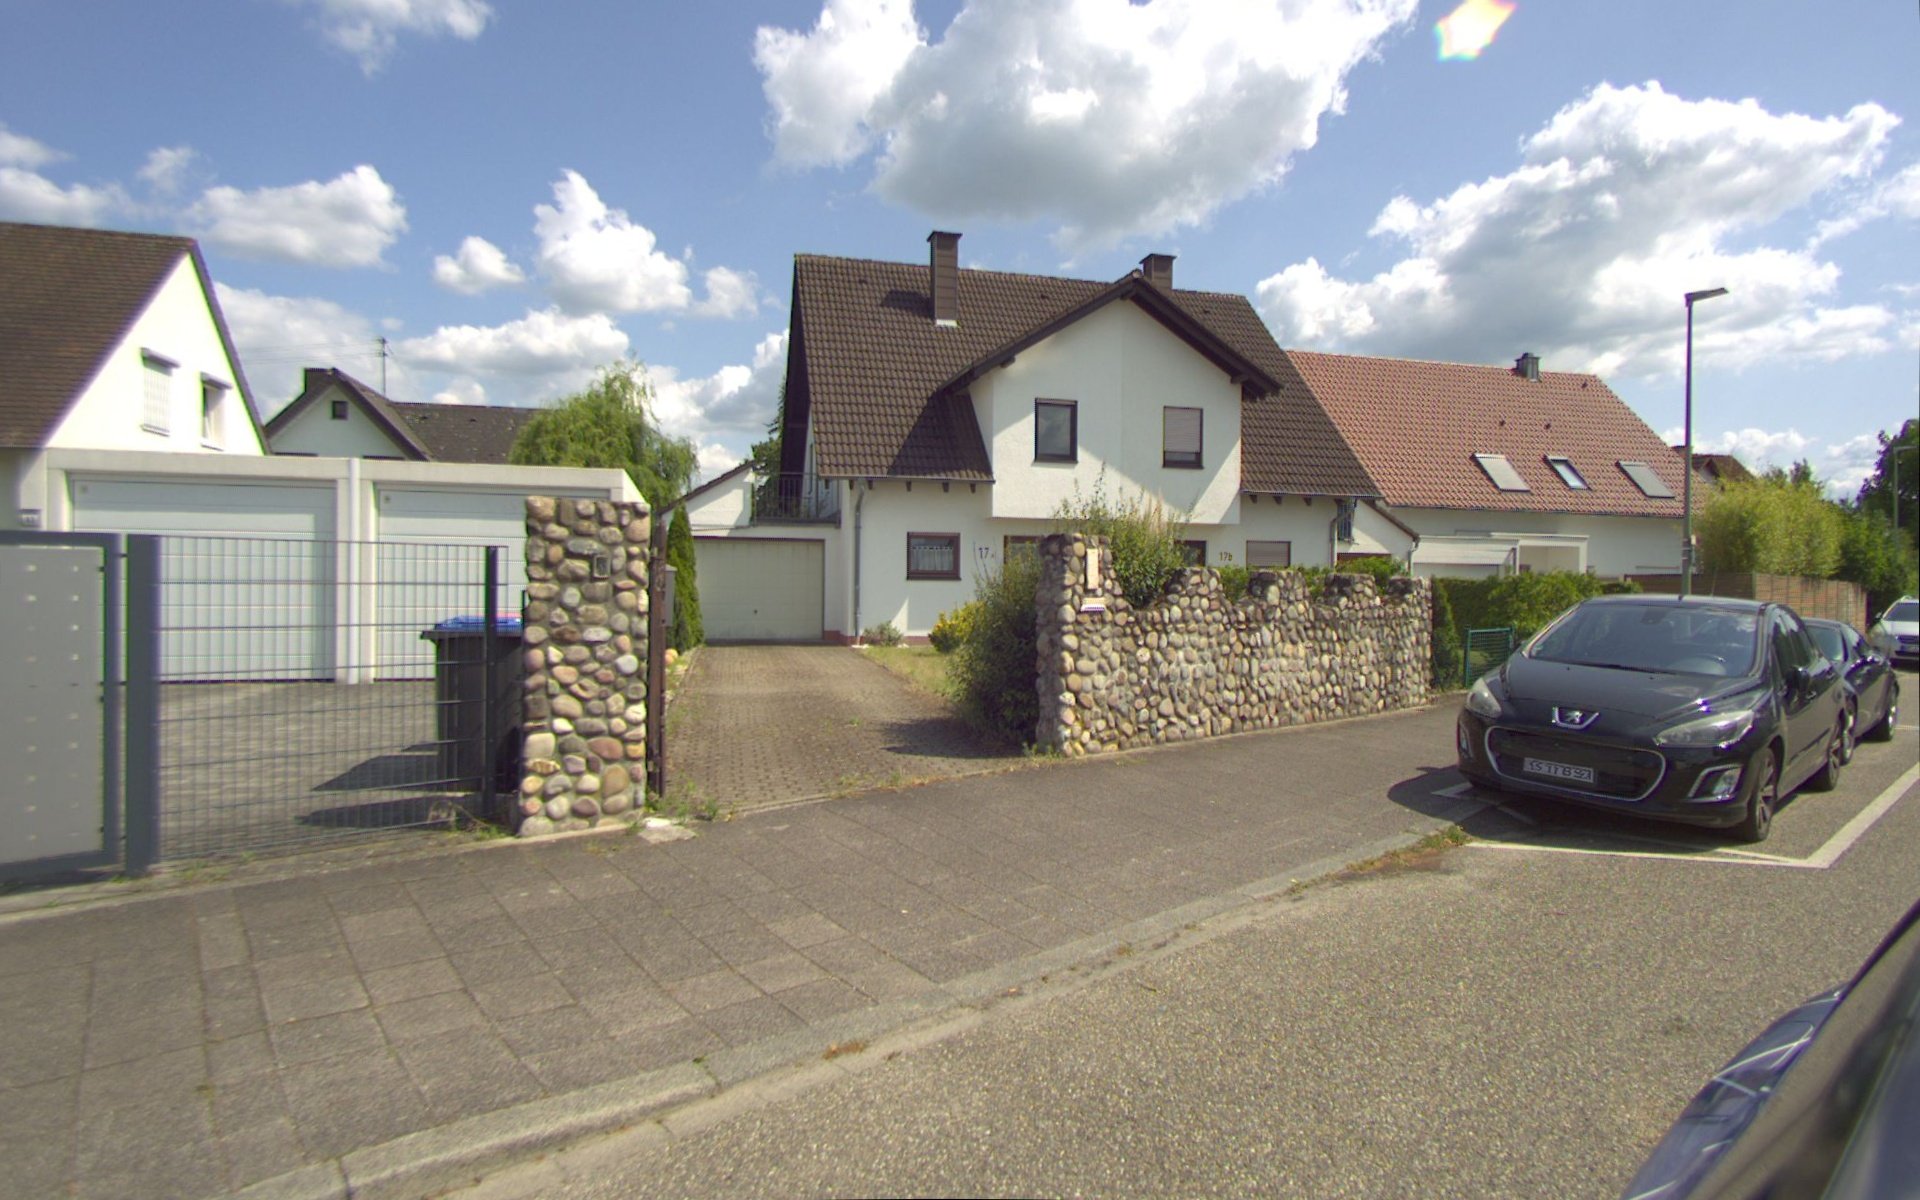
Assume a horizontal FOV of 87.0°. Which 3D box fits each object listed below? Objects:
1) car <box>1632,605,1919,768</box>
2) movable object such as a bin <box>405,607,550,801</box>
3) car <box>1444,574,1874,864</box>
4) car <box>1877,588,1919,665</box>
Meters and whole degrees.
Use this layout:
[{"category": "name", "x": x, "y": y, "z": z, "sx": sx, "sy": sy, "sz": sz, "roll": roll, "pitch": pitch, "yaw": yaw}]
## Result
[{"category": "car", "x": 8.647, "y": 0.748, "z": 10.555, "sx": 3.892, "sy": 1.334, "sz": 1.714, "roll": 0, "pitch": 1, "yaw": -40}, {"category": "movable object such as a bin", "x": -2.913, "y": 0.585, "z": 6.169, "sx": 0.751, "sy": 1.071, "sz": 0.779, "roll": 0, "pitch": 0, "yaw": -23}, {"category": "car", "x": 5.386, "y": 0.636, "z": 7.586, "sx": 4.051, "sy": 1.570, "sz": 1.746, "roll": 0, "pitch": 2, "yaw": -42}, {"category": "car", "x": 21.380, "y": 0.545, "z": 21.937, "sx": 4.217, "sy": 1.572, "sz": 1.748, "roll": 0, "pitch": 0, "yaw": -41}]
